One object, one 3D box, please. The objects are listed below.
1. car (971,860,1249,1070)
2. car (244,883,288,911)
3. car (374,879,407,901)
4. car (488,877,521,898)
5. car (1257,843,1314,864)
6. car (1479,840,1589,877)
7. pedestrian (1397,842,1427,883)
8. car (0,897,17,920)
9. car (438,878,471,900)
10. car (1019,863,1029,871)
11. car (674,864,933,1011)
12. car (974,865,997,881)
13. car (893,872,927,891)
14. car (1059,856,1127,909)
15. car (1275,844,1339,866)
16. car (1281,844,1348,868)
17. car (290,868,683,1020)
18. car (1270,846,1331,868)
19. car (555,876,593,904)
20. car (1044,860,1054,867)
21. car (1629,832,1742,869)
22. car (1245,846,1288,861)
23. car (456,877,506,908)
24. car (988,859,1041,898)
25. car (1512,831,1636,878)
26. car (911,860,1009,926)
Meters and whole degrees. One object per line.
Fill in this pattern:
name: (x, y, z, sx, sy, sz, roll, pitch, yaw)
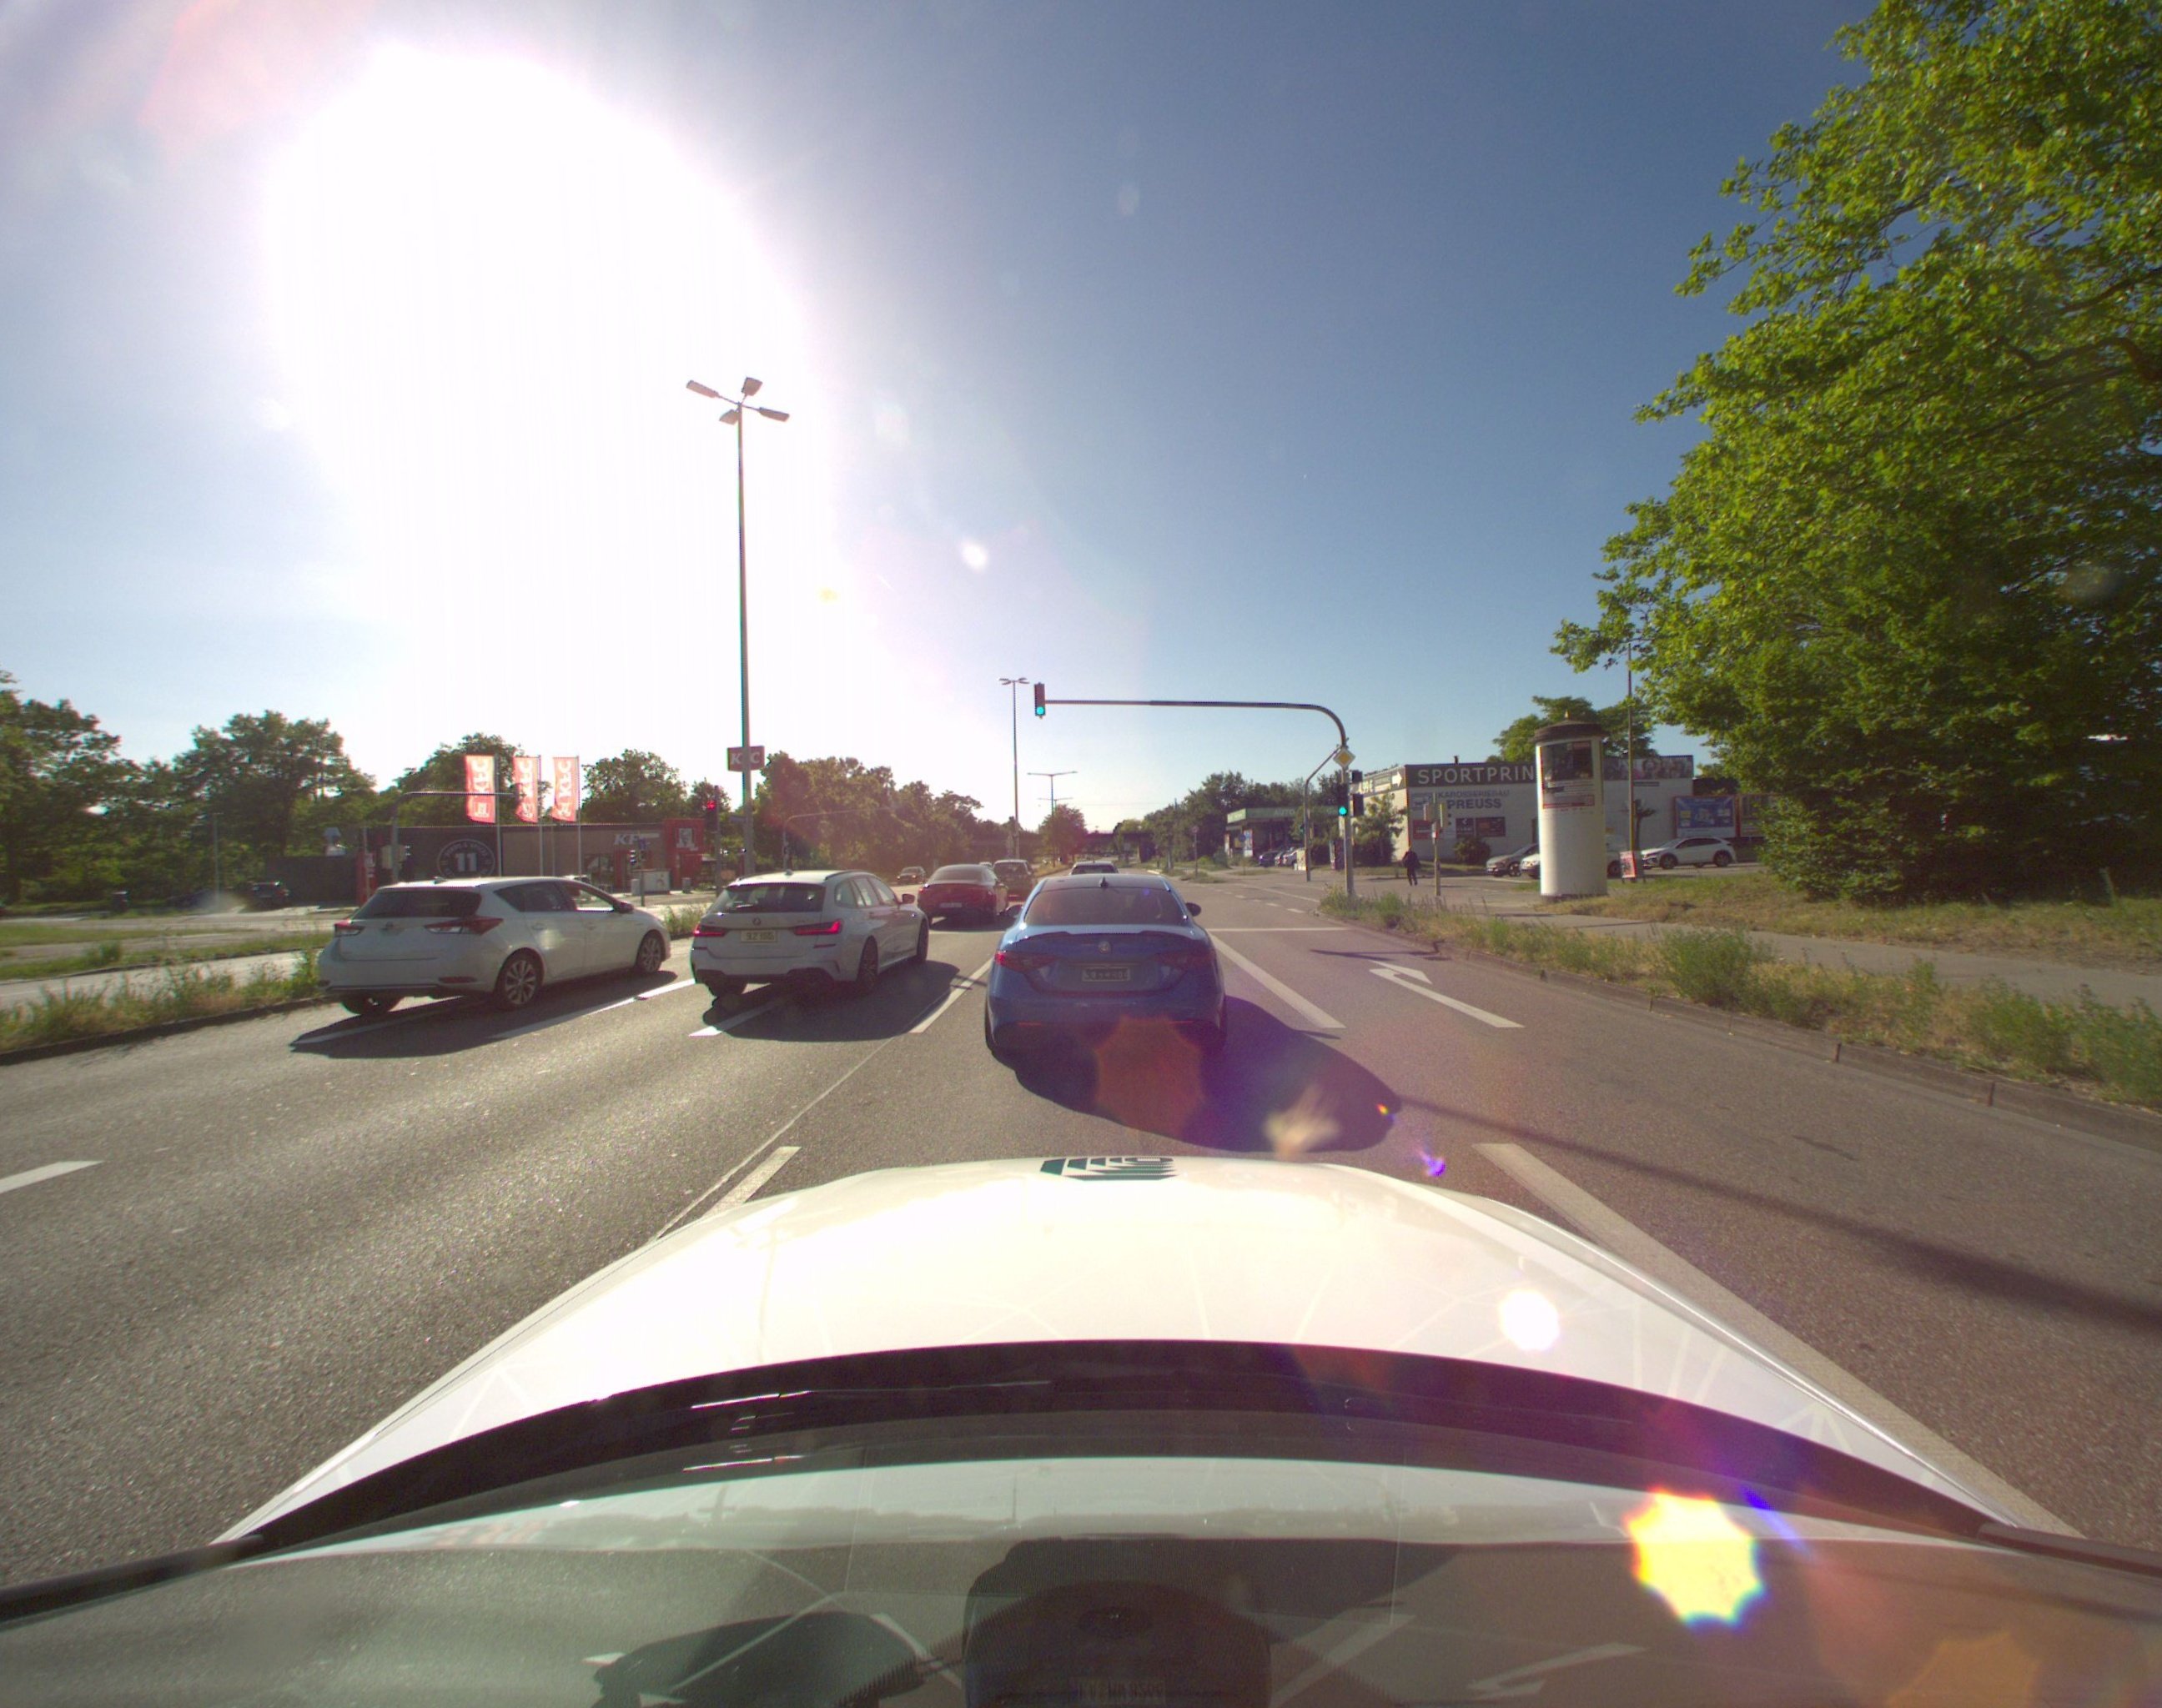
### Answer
car: (0.229, 0.796, 7.765, 1.889, 1.418, 4.403, 0, -1, 1)
car: (-52.418, 2.750, 52.421, 1.670, 1.673, 3.897, 1, -1, -40)
car: (-48.208, 2.488, 56.866, 1.670, 1.471, 3.872, 1, -1, -40)
car: (-43.326, 2.464, 61.190, 1.670, 1.471, 3.872, 1, -1, -40)
car: (17.571, -0.028, 70.143, 4.470, 1.454, 1.860, -3, -1, 3)
car: (21.616, 0.187, 38.939, 4.273, 1.549, 1.765, -3, 1, 0)
pedestrian: (14.057, 0.366, 34.622, 0.922, 1.735, 0.939, 0, -1, 1)
car: (-72.233, 3.641, 52.634, 3.967, 1.461, 1.641, -2, 0, -44)
car: (-45.816, 2.515, 59.534, 1.670, 1.471, 3.872, 1, -1, -40)
car: (-12.002, 2.699, 171.575, 1.603, 1.647, 3.463, 0, -1, 2)
car: (-3.250, 0.893, 10.566, 1.779, 1.490, 4.403, 0, -1, 1)
car: (-9.855, 1.976, 84.061, 1.752, 1.490, 3.838, -3, -1, 2)
car: (-14.470, 2.308, 69.081, 1.752, 1.490, 4.480, -3, -1, 2)
car: (0.360, 0.807, 24.213, 1.844, 1.418, 4.403, 0, -1, 1)
car: (17.566, 0.108, 63.570, 4.470, 1.454, 1.860, -3, -1, 3)
car: (17.439, 0.146, 60.886, 4.470, 1.454, 1.860, -3, -1, 3)
car: (-6.898, 0.924, 10.150, 1.753, 1.490, 4.197, 0, -1, 1)
car: (17.859, 0.238, 66.376, 4.470, 1.454, 1.860, -3, -1, 3)
car: (-33.839, 2.392, 54.483, 1.920, 1.753, 4.315, 0, -1, -29)
car: (-7.371, 2.265, 188.536, 1.752, 1.490, 4.480, -3, -1, 2)
car: (28.877, -0.160, 38.998, 4.028, 1.490, 1.782, -3, -1, -1)
car: (21.225, -0.035, 93.253, 4.532, 1.490, 1.766, -3, -1, 3)
car: (-37.504, 2.363, 51.000, 2.005, 1.765, 4.315, 0, -1, -29)
car: (-2.662, 0.985, 33.645, 1.753, 1.490, 4.403, 0, -1, 1)
car: (21.489, 0.011, 35.606, 4.367, 1.801, 1.765, -3, 1, 0)
car: (-2.960, 0.922, 20.834, 1.790, 1.490, 4.475, 0, -1, 1)
